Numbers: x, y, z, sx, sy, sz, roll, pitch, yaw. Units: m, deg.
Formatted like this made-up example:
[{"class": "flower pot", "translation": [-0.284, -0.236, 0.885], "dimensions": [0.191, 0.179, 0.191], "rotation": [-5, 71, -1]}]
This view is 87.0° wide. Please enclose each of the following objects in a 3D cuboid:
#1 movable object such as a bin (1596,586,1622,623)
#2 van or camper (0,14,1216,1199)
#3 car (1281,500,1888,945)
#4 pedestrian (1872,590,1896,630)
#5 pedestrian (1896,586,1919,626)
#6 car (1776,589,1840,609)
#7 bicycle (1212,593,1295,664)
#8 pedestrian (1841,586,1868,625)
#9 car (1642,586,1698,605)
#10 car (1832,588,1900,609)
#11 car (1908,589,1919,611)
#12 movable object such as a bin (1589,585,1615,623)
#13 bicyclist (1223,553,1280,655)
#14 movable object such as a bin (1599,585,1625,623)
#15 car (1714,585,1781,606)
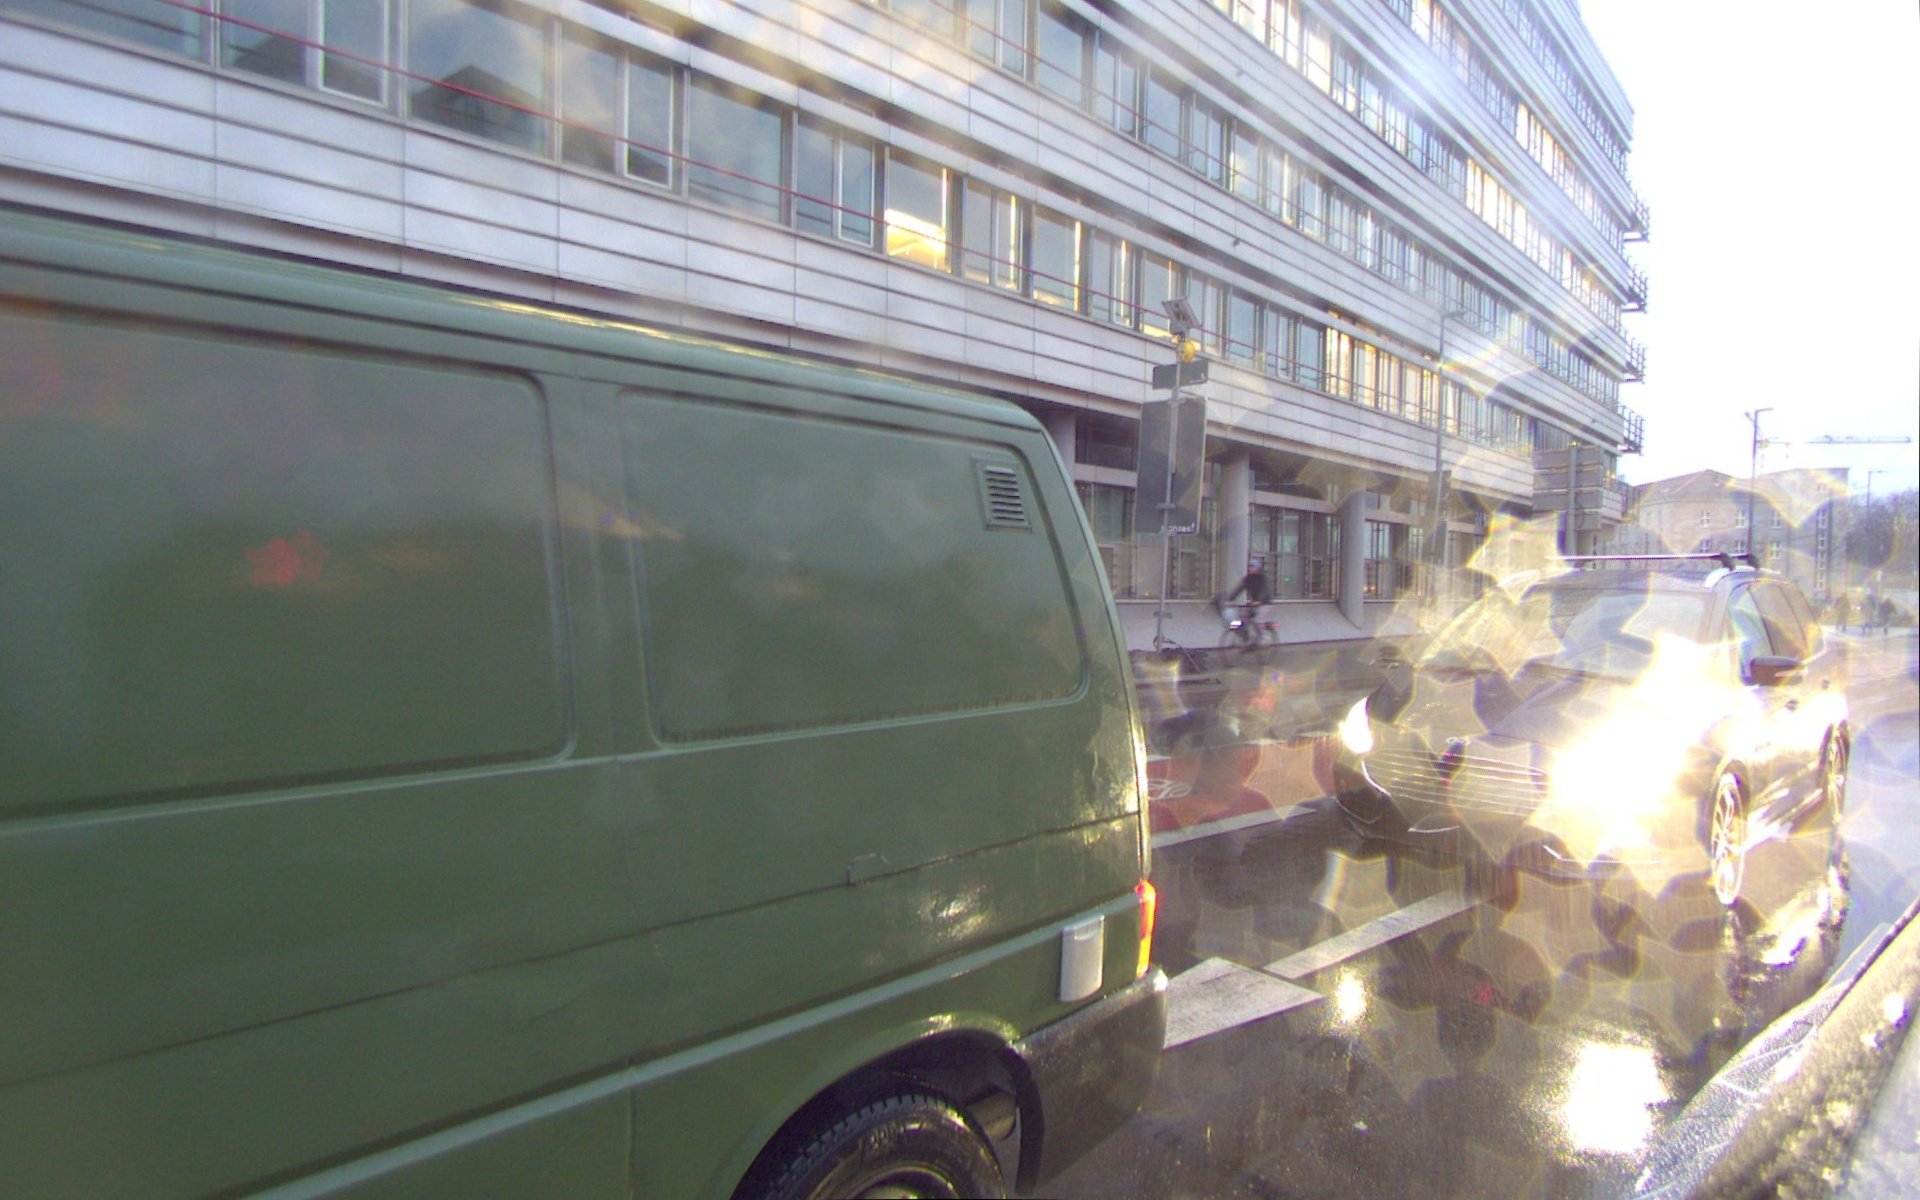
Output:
[{"class": "movable object such as a bin", "translation": [25.490, 0.163, 39.721], "dimensions": [0.826, 1.446, 0.665], "rotation": [0, 1, -44]}, {"class": "van or camper", "translation": [-1.686, 0.452, 1.298], "dimensions": [4.341, 1.931, 1.760], "rotation": [0, 0, -41]}, {"class": "car", "translation": [4.145, 0.496, 6.370], "dimensions": [4.587, 1.834, 1.887], "rotation": [0, 0, -39]}, {"class": "pedestrian", "translation": [41.095, 0.426, 44.995], "dimensions": [0.870, 1.723, 0.650], "rotation": [0, 3, -44]}, {"class": "pedestrian", "translation": [41.718, 0.253, 44.543], "dimensions": [0.870, 1.689, 0.615], "rotation": [0, 3, -44]}, {"class": "car", "translation": [72.877, -0.124, 87.027], "dimensions": [1.743, 1.556, 3.775], "rotation": [1, 1, -24]}, {"class": "bicycle", "translation": [5.439, 0.499, 18.700], "dimensions": [1.732, 1.213, 0.680], "rotation": [0, 3, -45]}, {"class": "pedestrian", "translation": [40.968, 0.238, 46.367], "dimensions": [0.953, 1.722, 0.746], "rotation": [0, 4, -44]}, {"class": "car", "translation": [68.608, -0.465, 97.836], "dimensions": [1.958, 1.693, 4.013], "rotation": [0, 1, -24]}, {"class": "car", "translation": [74.287, -0.116, 83.051], "dimensions": [1.743, 1.556, 3.775], "rotation": [1, 1, -24]}, {"class": "car", "translation": [76.584, 0.062, 78.561], "dimensions": [1.743, 1.730, 3.932], "rotation": [0, 1, -26]}, {"class": "movable object such as a bin", "translation": [24.830, 0.148, 39.136], "dimensions": [0.826, 1.446, 0.665], "rotation": [0, 1, -44]}, {"class": "bicyclist", "translation": [5.346, 0.058, 18.588], "dimensions": [0.793, 1.820, 0.670], "rotation": [0, 2, -45]}, {"class": "movable object such as a bin", "translation": [26.064, 0.161, 40.455], "dimensions": [0.826, 1.495, 0.665], "rotation": [0, 1, -44]}, {"class": "car", "translation": [71.064, -0.409, 91.399], "dimensions": [1.958, 1.782, 4.386], "rotation": [0, 1, -24]}]
